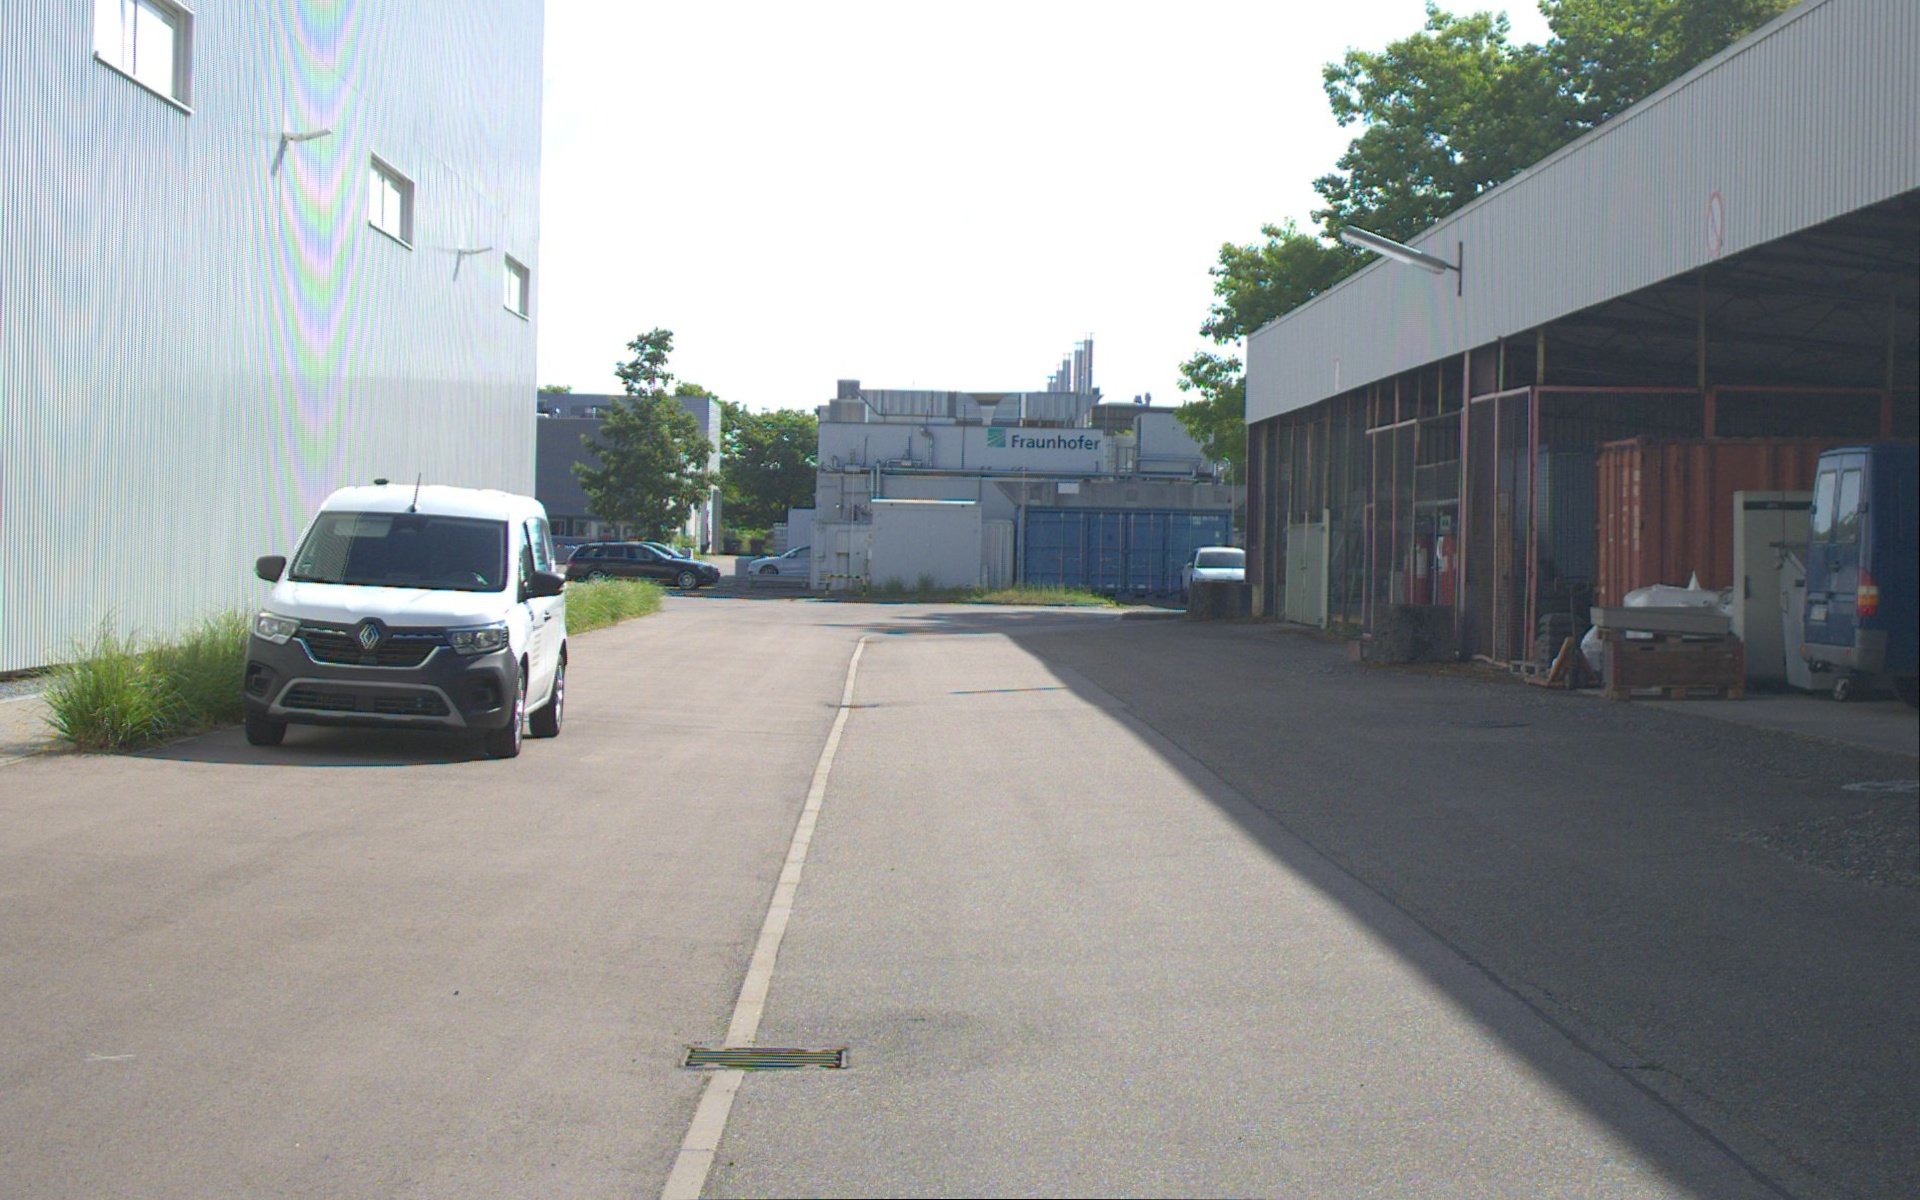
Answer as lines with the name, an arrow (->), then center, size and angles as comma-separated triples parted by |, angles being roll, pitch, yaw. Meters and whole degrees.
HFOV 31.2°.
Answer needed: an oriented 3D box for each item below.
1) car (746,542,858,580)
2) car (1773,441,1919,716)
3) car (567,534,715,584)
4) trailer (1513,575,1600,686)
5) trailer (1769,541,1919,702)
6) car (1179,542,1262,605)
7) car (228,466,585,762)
car -> -6.139, -1.514, 134.074 | 4.302, 1.452, 1.824 | 0, 0, -1
car -> 9.944, -0.161, 29.602 | 5.332, 2.273, 2.153 | 1, 0, -1
car -> -9.822, -1.262, 106.134 | 4.447, 1.526, 1.824 | 0, 0, -1
trailer -> 6.117, 0.298, 35.290 | 0.551, 1.114, 1.547 | 0, 0, -3
trailer -> 8.768, 0.182, 32.208 | 2.038, 1.461, 1.738 | 0, 1, 3
car -> 7.093, -0.741, 93.871 | 1.979, 1.597, 4.377 | 0, 2, 0
car -> -3.784, 0.070, 24.247 | 1.783, 1.809, 4.602 | 3, 0, -1
